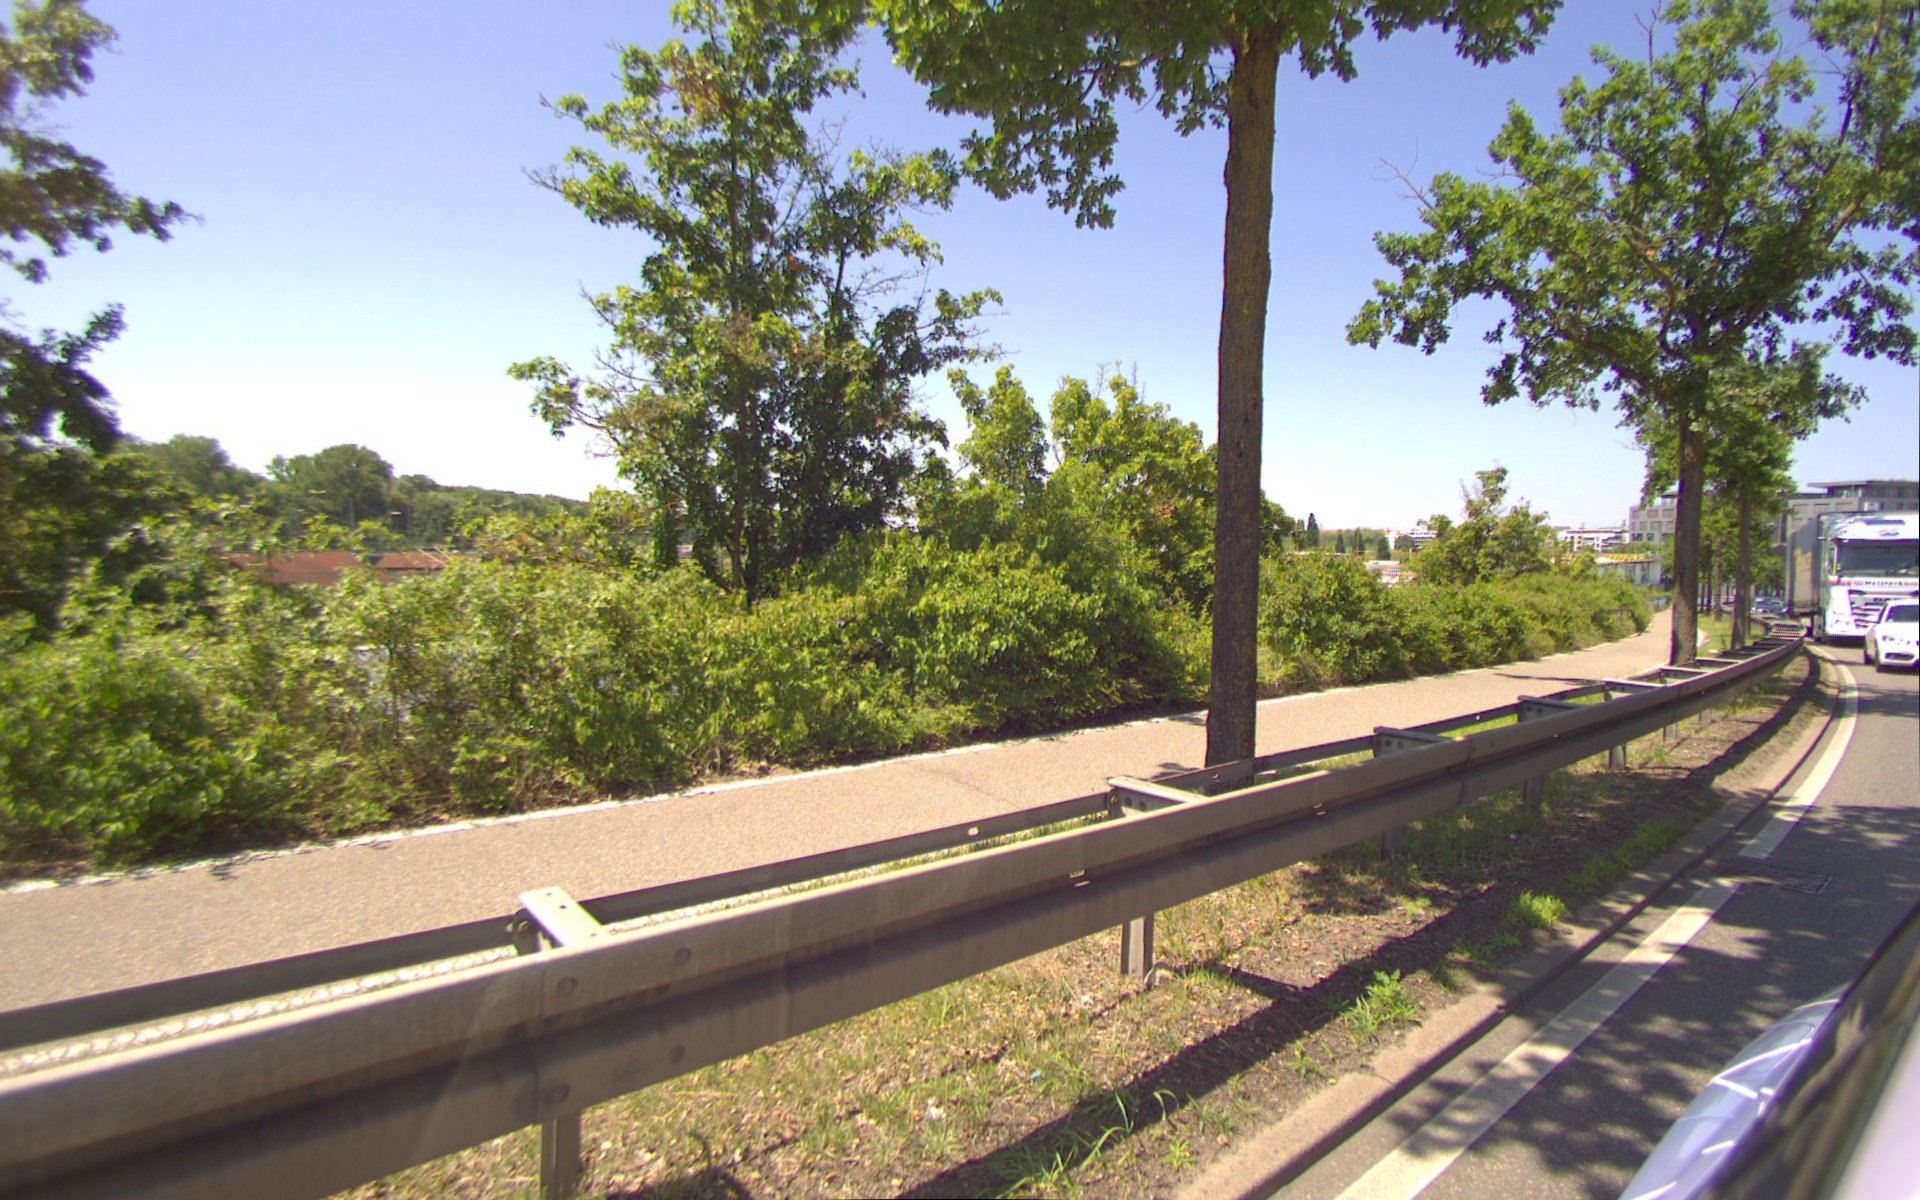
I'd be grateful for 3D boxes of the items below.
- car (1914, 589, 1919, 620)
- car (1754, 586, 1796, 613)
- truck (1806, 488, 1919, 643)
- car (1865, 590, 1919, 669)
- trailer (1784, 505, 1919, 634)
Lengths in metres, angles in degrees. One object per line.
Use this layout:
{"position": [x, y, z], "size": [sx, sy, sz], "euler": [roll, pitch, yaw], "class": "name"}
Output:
{"position": [47.164, 0.244, 48.475], "size": [1.742, 1.510, 3.682], "euler": [1, 1, 38], "class": "car"}
{"position": [49.940, -0.045, 62.073], "size": [1.967, 1.596, 3.945], "euler": [1, 1, 38], "class": "car"}
{"position": [29.063, -0.996, 31.966], "size": [2.841, 4.322, 8.703], "euler": [1, 1, 35], "class": "truck"}
{"position": [19.074, 0.536, 19.789], "size": [3.654, 1.446, 1.813], "euler": [0, 1, -44], "class": "car"}
{"position": [34.702, -1.084, 39.731], "size": [2.866, 4.267, 13.825], "euler": [1, 1, 36], "class": "trailer"}
